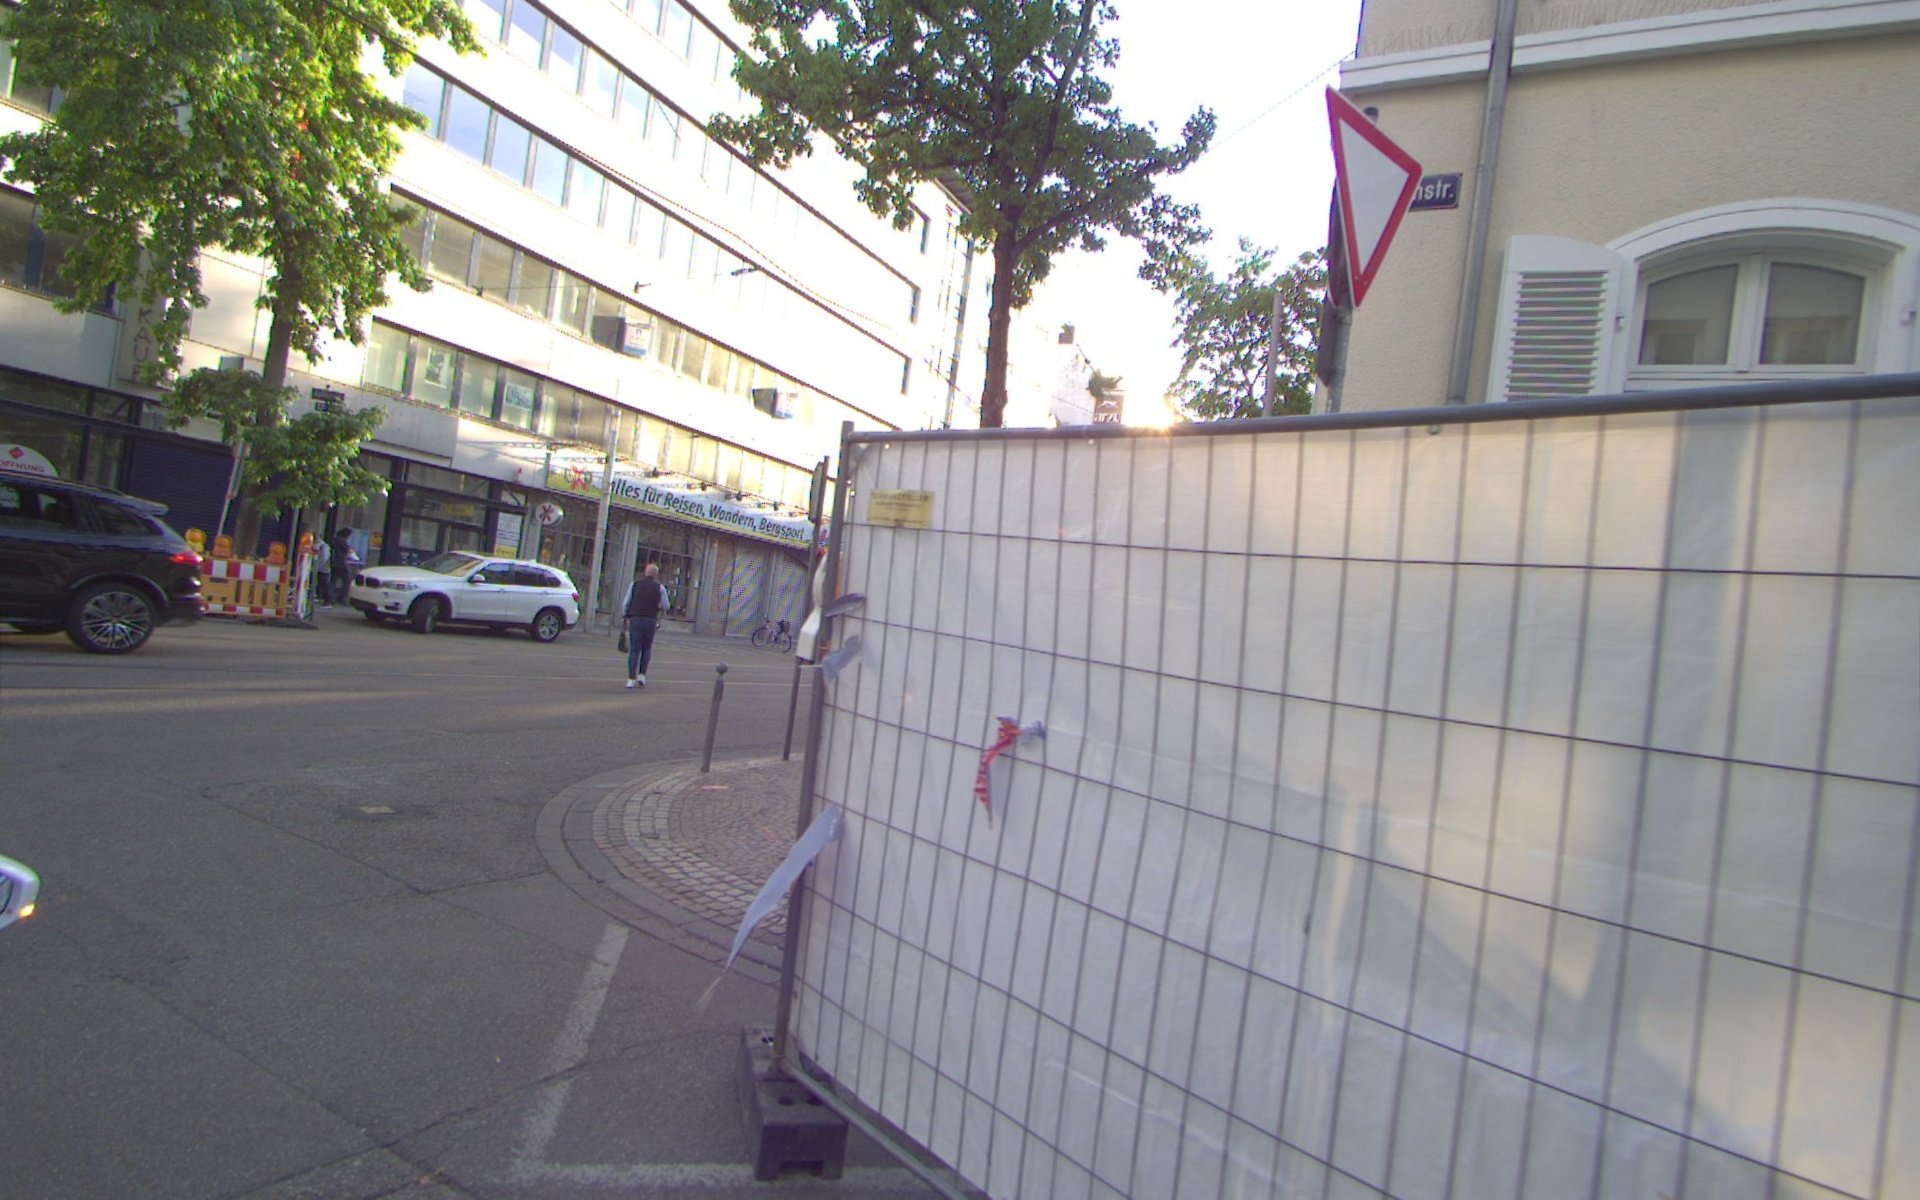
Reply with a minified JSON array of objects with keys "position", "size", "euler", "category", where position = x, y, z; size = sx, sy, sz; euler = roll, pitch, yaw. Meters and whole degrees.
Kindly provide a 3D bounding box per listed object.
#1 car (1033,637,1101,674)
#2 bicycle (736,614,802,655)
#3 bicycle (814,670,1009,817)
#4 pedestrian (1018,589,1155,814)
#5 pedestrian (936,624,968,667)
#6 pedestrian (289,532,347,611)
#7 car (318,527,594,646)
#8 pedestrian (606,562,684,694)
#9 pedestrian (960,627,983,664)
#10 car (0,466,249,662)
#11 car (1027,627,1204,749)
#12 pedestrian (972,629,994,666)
[{"position":[5.837,3.039,54.720],"size":[1.704,1.402,3.646],"euler":[10,-1,42],"category":"car"},{"position":[-6.181,1.116,32.588],"size":[1.991,0.964,0.669],"euler":[10,2,26],"category":"bicycle"},{"position":[-0.538,1.455,10.662],"size":[1.375,0.443,1.683],"euler":[-42,27,-26],"category":"bicycle"},{"position":[1.172,0.892,9.156],"size":[0.791,1.842,1.072],"euler":[6,0,24],"category":"pedestrian"},{"position":[-0.369,2.038,45.465],"size":[0.793,1.798,0.968],"euler":[8,1,40],"category":"pedestrian"},{"position":[-13.712,-0.598,21.502],"size":[0.568,1.568,0.706],"euler":[7,1,25],"category":"pedestrian"},{"position":[-10.701,-0.196,21.835],"size":[1.987,1.796,4.944],"euler":[10,-1,28],"category":"car"},{"position":[-4.674,0.394,14.892],"size":[0.795,1.798,1.066],"euler":[7,1,-24],"category":"pedestrian"},{"position":[0.587,2.320,51.259],"size":[0.617,1.798,0.815],"euler":[8,1,26],"category":"pedestrian"},{"position":[-10.065,-0.512,9.541],"size":[1.987,1.745,4.944],"euler":[7,-2,28],"category":"car"},{"position":[2.898,1.612,18.126],"size":[1.730,1.815,3.648],"euler":[5,-3,32],"category":"car"},{"position":[1.185,2.398,50.984],"size":[0.617,1.798,0.815],"euler":[8,1,26],"category":"pedestrian"}]
